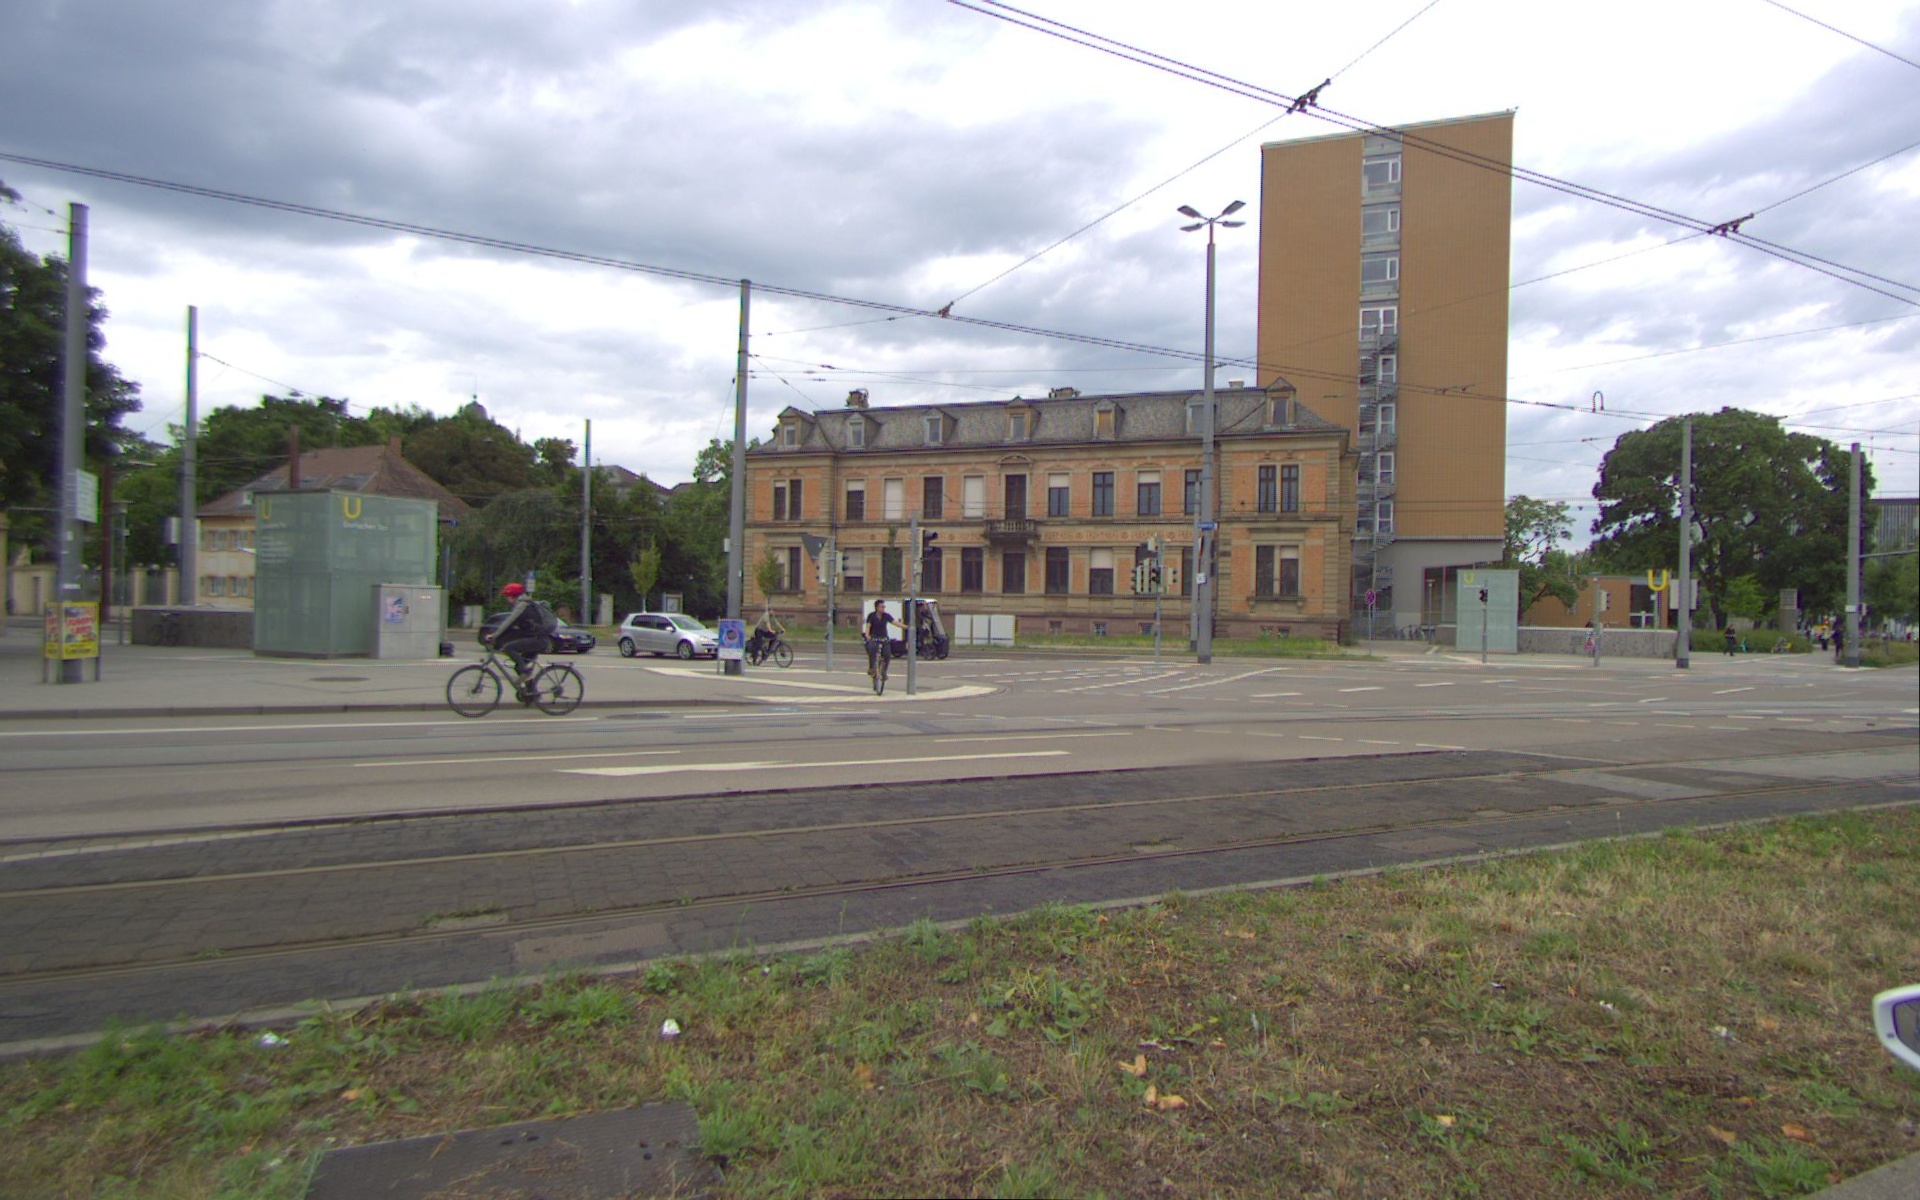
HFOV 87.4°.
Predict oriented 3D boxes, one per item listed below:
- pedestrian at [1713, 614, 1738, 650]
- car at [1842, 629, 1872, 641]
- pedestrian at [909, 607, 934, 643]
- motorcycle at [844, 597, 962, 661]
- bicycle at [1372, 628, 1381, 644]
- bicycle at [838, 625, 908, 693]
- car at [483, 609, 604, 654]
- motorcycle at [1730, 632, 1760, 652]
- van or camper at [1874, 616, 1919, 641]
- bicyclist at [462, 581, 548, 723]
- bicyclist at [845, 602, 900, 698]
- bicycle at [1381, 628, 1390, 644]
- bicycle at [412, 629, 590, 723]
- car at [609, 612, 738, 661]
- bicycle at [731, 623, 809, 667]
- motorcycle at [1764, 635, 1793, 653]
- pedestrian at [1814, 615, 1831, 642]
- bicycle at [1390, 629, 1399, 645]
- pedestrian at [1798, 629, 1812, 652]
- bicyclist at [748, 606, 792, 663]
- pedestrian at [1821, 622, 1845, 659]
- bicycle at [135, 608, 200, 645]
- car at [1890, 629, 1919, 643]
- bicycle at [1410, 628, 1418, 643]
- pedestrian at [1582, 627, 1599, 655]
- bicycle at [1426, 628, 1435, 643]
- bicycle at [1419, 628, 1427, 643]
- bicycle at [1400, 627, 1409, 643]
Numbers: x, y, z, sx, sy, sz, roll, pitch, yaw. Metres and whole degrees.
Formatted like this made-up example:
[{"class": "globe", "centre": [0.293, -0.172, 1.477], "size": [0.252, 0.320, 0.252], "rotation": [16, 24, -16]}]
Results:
[{"class": "pedestrian", "centre": [44.258, 1.863, 58.081], "size": [0.840, 2.040, 1.011], "rotation": [1, 0, -44]}, {"class": "car", "centre": [126.677, 4.916, 141.872], "size": [1.746, 1.483, 4.000], "rotation": [1, 0, 20]}, {"class": "pedestrian", "centre": [-2.013, 1.293, 52.203], "size": [1.104, 1.786, 0.759], "rotation": [1, 0, 13]}, {"class": "motorcycle", "centre": [-1.954, 0.964, 34.286], "size": [3.617, 2.040, 1.695], "rotation": [1, 0, 24]}, {"class": "bicycle", "centre": [30.827, 2.665, 74.291], "size": [0.561, 1.120, 1.427], "rotation": [1, 0, 23]}, {"class": "bicycle", "centre": [-1.724, 1.122, 19.600], "size": [0.804, 1.259, 1.989], "rotation": [0, -1, -22]}, {"class": "car", "centre": [-15.023, 1.105, 36.231], "size": [4.063, 1.468, 1.696], "rotation": [1, 0, 24]}, {"class": "motorcycle", "centre": [51.277, 2.730, 65.589], "size": [1.443, 1.285, 0.512], "rotation": [1, 0, 20]}, {"class": "van or camper", "centre": [124.415, 3.723, 133.353], "size": [2.347, 3.165, 5.505], "rotation": [1, 0, 17]}, {"class": "bicyclist", "centre": [-6.397, 0.713, 14.110], "size": [1.035, 1.917, 0.826], "rotation": [1, -1, -27]}, {"class": "bicyclist", "centre": [-1.708, 0.945, 19.542], "size": [0.804, 1.822, 1.024], "rotation": [0, 0, -22]}, {"class": "bicycle", "centre": [31.373, 2.672, 74.066], "size": [0.561, 1.120, 1.427], "rotation": [1, 0, 23]}, {"class": "bicycle", "centre": [-6.414, 1.028, 14.103], "size": [2.205, 1.224, 0.821], "rotation": [1, -1, -27]}, {"class": "car", "centre": [-9.605, 1.175, 33.624], "size": [4.085, 1.473, 1.759], "rotation": [1, 0, 29]}, {"class": "bicycle", "centre": [-5.597, 1.306, 29.524], "size": [2.156, 1.224, 0.857], "rotation": [1, -1, 26]}, {"class": "motorcycle", "centre": [53.380, 2.884, 65.520], "size": [1.714, 1.126, 0.510], "rotation": [1, 0, -12]}, {"class": "pedestrian", "centre": [65.586, 2.196, 76.406], "size": [0.782, 2.007, 0.879], "rotation": [1, -1, 31]}, {"class": "bicycle", "centre": [31.917, 2.694, 73.844], "size": [0.561, 1.120, 1.427], "rotation": [1, 0, 23]}, {"class": "pedestrian", "centre": [76.502, 3.685, 90.903], "size": [0.790, 2.007, 0.870], "rotation": [3, -1, -43]}, {"class": "bicyclist", "centre": [-5.585, 1.006, 29.527], "size": [0.900, 1.644, 0.854], "rotation": [1, -1, 25]}, {"class": "pedestrian", "centre": [49.372, 2.286, 56.784], "size": [1.005, 2.040, 0.919], "rotation": [3, -1, -44]}, {"class": "bicycle", "centre": [-25.273, 0.834, 32.037], "size": [2.319, 1.130, 0.739], "rotation": [1, 0, 28]}, {"class": "car", "centre": [109.722, 4.190, 116.096], "size": [1.746, 1.483, 4.001], "rotation": [1, -1, 19]}, {"class": "bicycle", "centre": [33.147, 2.589, 73.362], "size": [0.500, 1.063, 1.427], "rotation": [1, 0, 23]}, {"class": "pedestrian", "centre": [31.349, 2.020, 49.970], "size": [0.562, 1.353, 0.499], "rotation": [1, 0, 15]}, {"class": "bicycle", "centre": [34.187, 2.573, 72.980], "size": [0.473, 1.063, 1.427], "rotation": [1, 0, 23]}, {"class": "bicycle", "centre": [33.708, 2.579, 73.185], "size": [0.473, 1.063, 1.427], "rotation": [1, 0, 23]}, {"class": "bicycle", "centre": [32.544, 2.575, 73.618], "size": [0.561, 1.120, 1.427], "rotation": [1, 0, 23]}]
